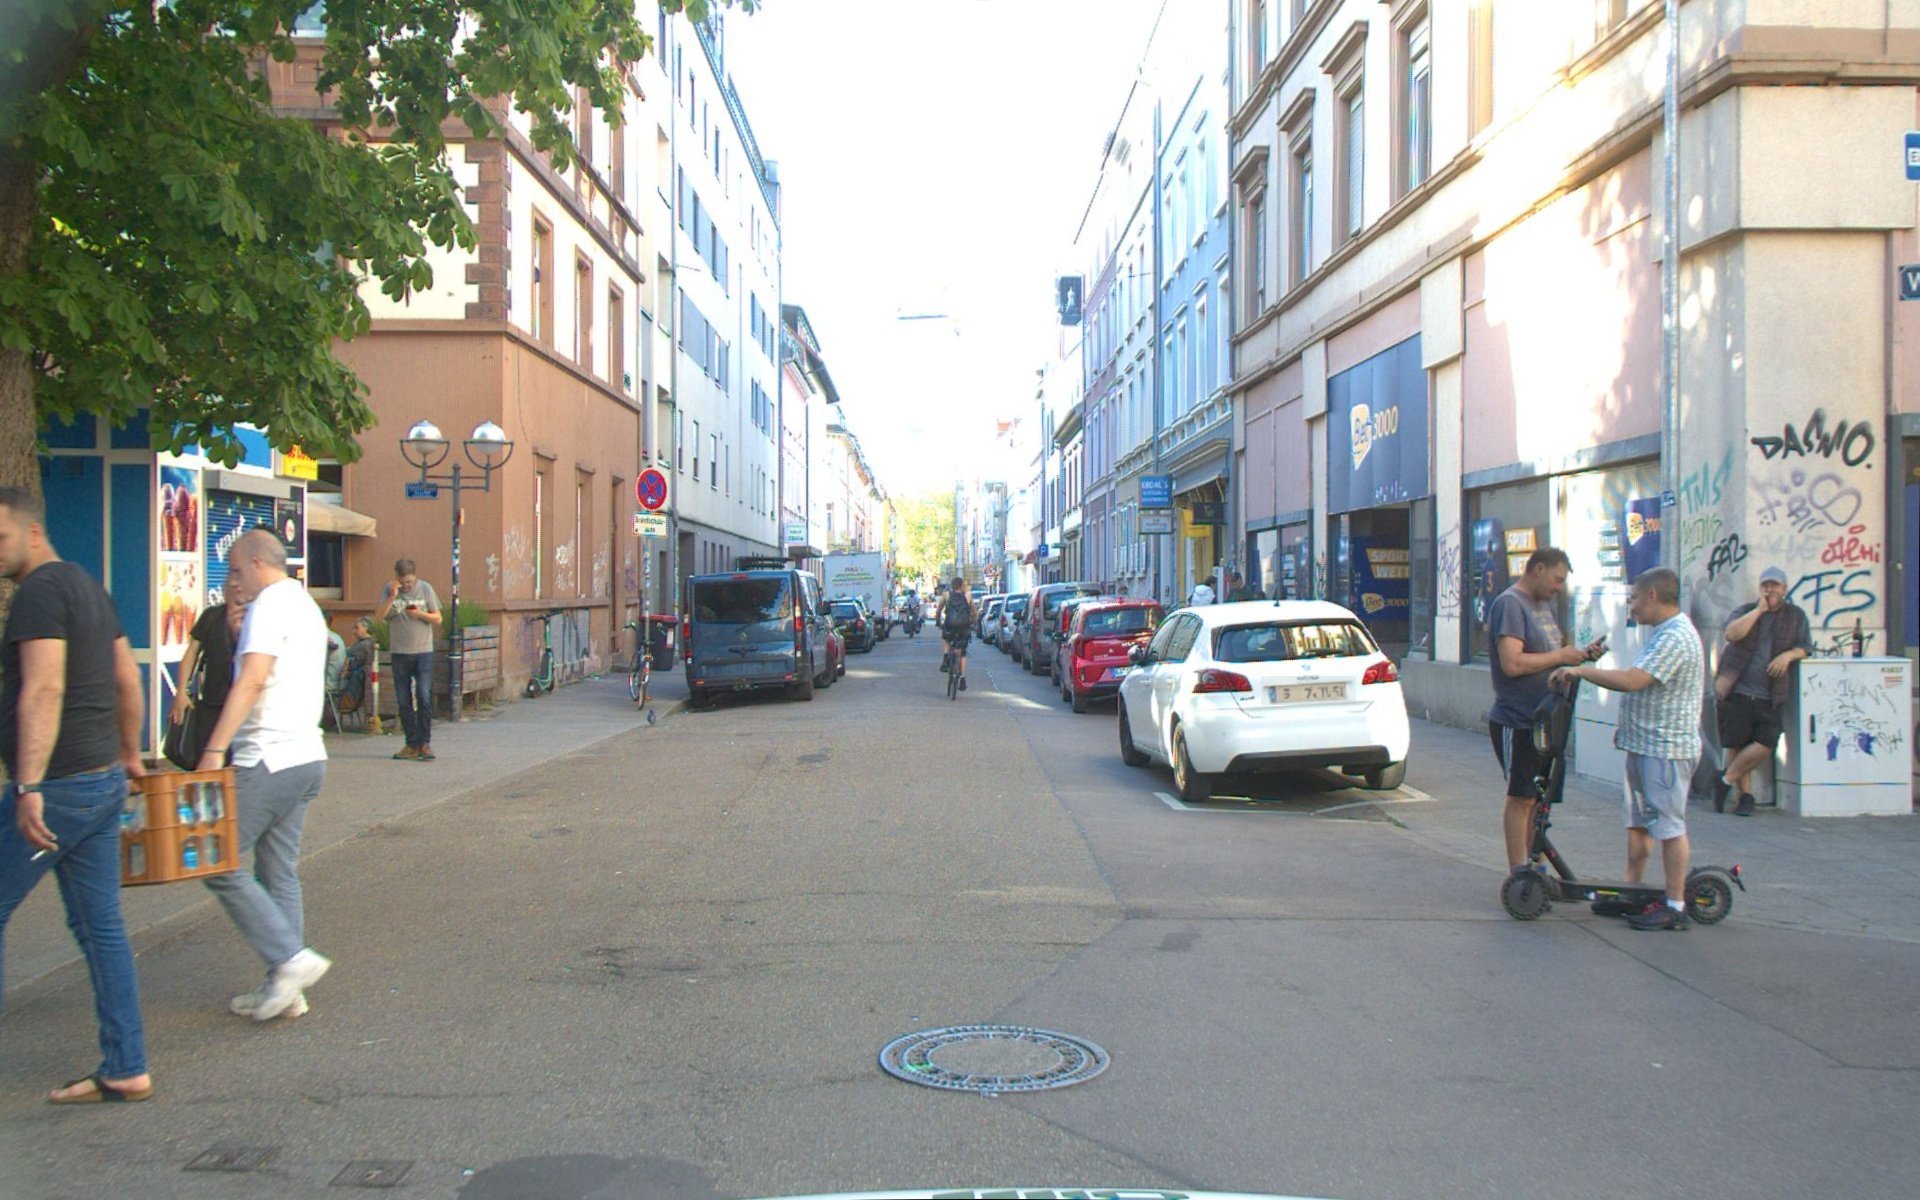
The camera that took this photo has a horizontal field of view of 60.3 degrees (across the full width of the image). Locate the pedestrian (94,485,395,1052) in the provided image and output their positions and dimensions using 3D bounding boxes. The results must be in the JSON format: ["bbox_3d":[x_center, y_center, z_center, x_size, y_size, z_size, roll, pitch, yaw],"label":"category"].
[{"bbox_3d":[-2.482,0.560,5.819,0.746,1.867,0.688,1,-1,-3],"label":"pedestrian"}]

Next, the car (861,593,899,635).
[{"bbox_3d":[-3.778,0.667,78.613,1.717,1.848,4.076,-2,0,-2],"label":"car"}]

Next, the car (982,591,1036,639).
[{"bbox_3d":[1.708,0.530,58.855,1.652,1.570,4.044,-2,0,-2],"label":"car"}]

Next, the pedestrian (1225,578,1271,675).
[{"bbox_3d":[4.699,0.428,27.023,0.576,1.556,0.658,1,-1,-7],"label":"pedestrian"}]

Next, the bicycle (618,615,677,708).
[{"bbox_3d":[-4.407,0.839,23.254,0.541,1.238,1.978,1,0,-18],"label":"bicycle"}]

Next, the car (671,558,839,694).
[{"bbox_3d":[-3.115,0.344,26.224,1.979,1.912,5.297,1,0,0],"label":"car"}]

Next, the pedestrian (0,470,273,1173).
[{"bbox_3d":[-2.570,0.585,4.872,0.680,1.857,1.002,1,-1,-3],"label":"pedestrian"}]

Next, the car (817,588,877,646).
[{"bbox_3d":[-3.592,0.516,53.232,1.682,1.679,4.244,-3,1,-2],"label":"car"}]

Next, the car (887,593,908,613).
[{"bbox_3d":[-5.552,0.241,146.990,1.715,1.713,3.794,-1,0,-2],"label":"car"}]

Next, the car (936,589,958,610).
[{"bbox_3d":[-0.957,-0.022,124.019,1.578,1.587,3.609,1,0,-1],"label":"car"}]

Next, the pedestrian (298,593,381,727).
[{"bbox_3d":[-6.968,0.670,18.589,0.691,1.471,0.617,1,-1,-2],"label":"pedestrian"}]

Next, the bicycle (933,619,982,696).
[{"bbox_3d":[-0.054,0.845,24.859,0.663,1.093,1.941,1,0,-2],"label":"bicycle"}]

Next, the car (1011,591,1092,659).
[{"bbox_3d":[2.153,0.589,39.685,1.521,1.537,3.609,1,0,-4],"label":"car"}]

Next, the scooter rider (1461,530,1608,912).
[{"bbox_3d":[2.872,0.574,8.257,0.553,1.809,0.609,0,-1,34],"label":"scooter rider"}]

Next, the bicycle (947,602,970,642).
[{"bbox_3d":[-0.054,0.650,48.780,0.635,1.149,2.135,1,0,-1],"label":"bicycle"}]

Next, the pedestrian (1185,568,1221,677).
[{"bbox_3d":[3.982,0.363,27.112,0.549,1.771,0.428,1,-1,4],"label":"pedestrian"}]

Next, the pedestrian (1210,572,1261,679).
[{"bbox_3d":[4.612,0.429,27.733,0.618,1.771,0.656,1,-1,-14],"label":"pedestrian"}]

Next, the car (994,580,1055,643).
[{"bbox_3d":[1.834,0.343,47.961,1.525,1.742,3.557,1,0,-2],"label":"car"}]

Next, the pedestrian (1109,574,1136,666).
[{"bbox_3d":[3.099,0.386,31.578,0.432,1.734,0.654,1,-1,-1],"label":"pedestrian"}]

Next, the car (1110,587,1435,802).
[{"bbox_3d":[2.465,0.702,14.069,1.751,1.542,4.133,1,0,-3],"label":"car"}]

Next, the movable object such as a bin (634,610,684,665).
[{"bbox_3d":[-6.016,0.746,33.093,0.743,1.085,0.652,1,-1,18],"label":"movable object such as a bin"}]

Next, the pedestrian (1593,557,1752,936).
[{"bbox_3d":[3.306,0.647,7.671,0.519,1.667,0.561,0,-1,43],"label":"pedestrian"}]

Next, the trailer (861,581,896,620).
[{"bbox_3d":[-4.609,0.015,93.598,1.844,2.129,3.736,-1,0,-2],"label":"trailer"}]

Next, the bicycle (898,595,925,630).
[{"bbox_3d":[-1.900,0.490,65.538,0.957,1.337,2.555,-2,0,0],"label":"bicycle"}]

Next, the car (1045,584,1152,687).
[{"bbox_3d":[2.353,0.591,28.709,1.537,1.584,3.314,-3,0,1],"label":"car"}]

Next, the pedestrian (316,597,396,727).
[{"bbox_3d":[-7.006,0.713,19.197,0.691,1.471,0.617,1,-1,-2],"label":"pedestrian"}]

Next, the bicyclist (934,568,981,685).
[{"bbox_3d":[-0.047,0.388,24.835,0.654,1.706,1.097,1,-1,-2],"label":"bicyclist"}]

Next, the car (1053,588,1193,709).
[{"bbox_3d":[2.288,0.659,23.945,1.574,1.600,3.552,1,0,-1],"label":"car"}]

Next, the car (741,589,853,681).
[{"bbox_3d":[-3.028,0.637,31.404,1.715,1.548,3.868,-3,0,-1],"label":"car"}]

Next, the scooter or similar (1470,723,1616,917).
[{"bbox_3d":[2.869,1.063,8.199,0.385,0.843,0.925,1,-1,-1],"label":"scooter or similar"}]

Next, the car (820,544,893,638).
[{"bbox_3d":[-3.931,-0.322,64.090,2.296,3.349,7.153,-2,0,-1],"label":"car"}]

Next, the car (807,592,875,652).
[{"bbox_3d":[-3.380,0.593,47.632,1.682,1.504,4.497,-3,1,-2],"label":"car"}]

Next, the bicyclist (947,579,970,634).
[{"bbox_3d":[-0.046,0.196,48.762,0.657,1.595,0.716,1,-1,-2],"label":"bicyclist"}]

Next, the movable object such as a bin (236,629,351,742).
[{"bbox_3d":[-6.793,0.859,16.891,0.852,1.105,0.774,1,-1,-1],"label":"movable object such as a bin"}]

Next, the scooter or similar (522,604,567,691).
[{"bbox_3d":[-6.131,0.685,24.458,0.340,1.238,1.391,1,0,-2],"label":"scooter or similar"}]

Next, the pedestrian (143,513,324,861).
[{"bbox_3d":[-4.139,0.483,9.471,0.702,1.906,0.720,1,-1,-2],"label":"pedestrian"}]

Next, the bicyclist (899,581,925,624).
[{"bbox_3d":[-1.905,0.098,65.568,0.931,1.656,0.953,-2,0,1],"label":"bicyclist"}]

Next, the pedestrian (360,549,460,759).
[{"bbox_3d":[-5.055,0.489,15.232,0.633,1.866,0.697,2,-1,-2],"label":"pedestrian"}]

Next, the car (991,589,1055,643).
[{"bbox_3d":[1.965,0.505,52.771,1.662,1.570,4.627,-2,0,-2],"label":"car"}]

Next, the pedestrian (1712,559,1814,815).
[{"bbox_3d":[5.443,0.566,11.210,0.588,1.678,0.464,0,2,30],"label":"pedestrian"}]

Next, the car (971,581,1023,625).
[{"bbox_3d":[1.435,0.099,66.487,1.879,1.735,4.365,0,0,-2],"label":"car"}]

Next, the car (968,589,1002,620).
[{"bbox_3d":[1.277,0.256,85.361,1.714,1.513,3.799,-1,0,0],"label":"car"}]

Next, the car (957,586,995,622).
[{"bbox_3d":[0.850,0.218,90.414,1.715,1.911,3.969,-1,0,-4],"label":"car"}]

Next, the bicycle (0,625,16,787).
[{"bbox_3d":[-6.920,0.769,11.094,0.488,1.151,2.030,1,0,-14],"label":"bicycle"}]

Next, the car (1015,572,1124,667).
[{"bbox_3d":[2.225,0.395,34.599,1.861,1.825,4.313,1,0,-2],"label":"car"}]

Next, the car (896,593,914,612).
[{"bbox_3d":[-5.500,0.283,164.788,1.715,1.853,3.794,-1,0,-2],"label":"car"}]
